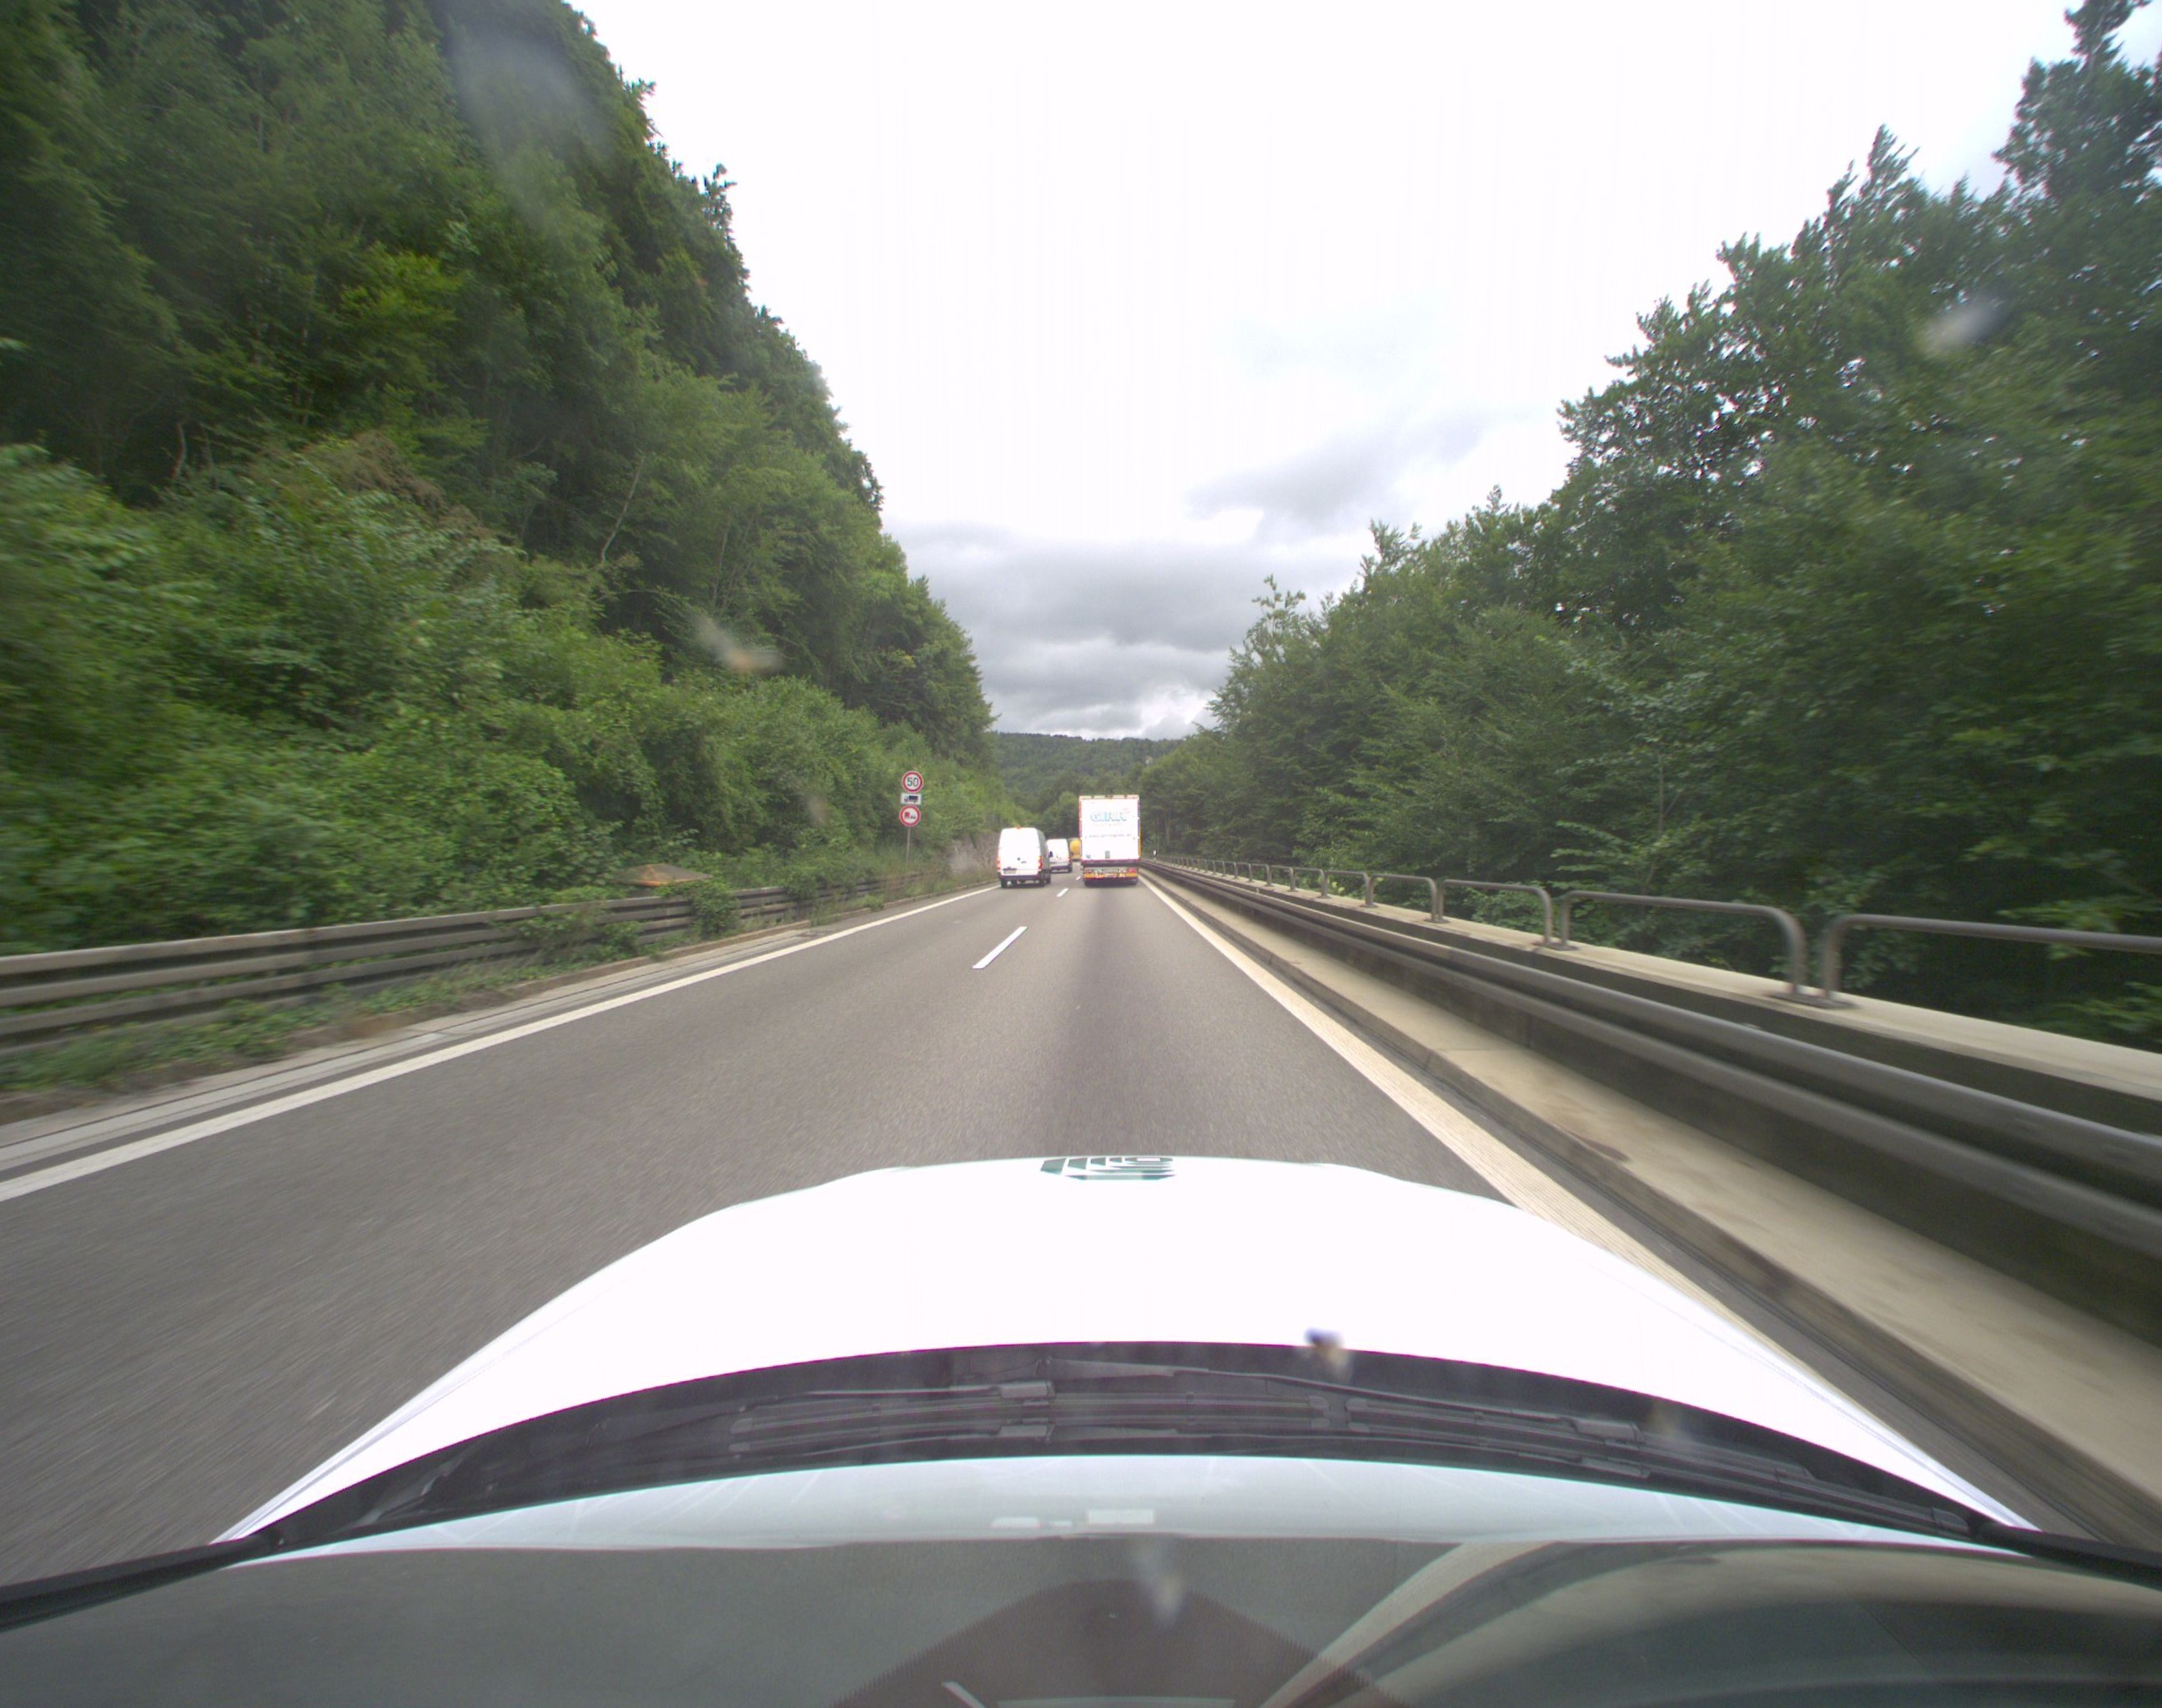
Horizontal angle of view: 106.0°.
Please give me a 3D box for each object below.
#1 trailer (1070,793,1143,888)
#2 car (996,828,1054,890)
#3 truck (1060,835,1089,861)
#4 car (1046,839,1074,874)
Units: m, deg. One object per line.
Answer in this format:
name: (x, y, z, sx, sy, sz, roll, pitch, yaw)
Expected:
trailer: (1.243, -0.722, 40.290, 3.046, 3.985, 12.141, 0, 1, 1)
car: (-2.548, 0.188, 38.750, 1.981, 2.672, 6.939, -1, 0, 2)
truck: (-1.173, -0.804, 131.909, 3.055, 3.986, 13.661, 0, 0, -7)
car: (-1.642, 0.160, 65.248, 1.933, 2.672, 5.992, -1, 0, 1)
